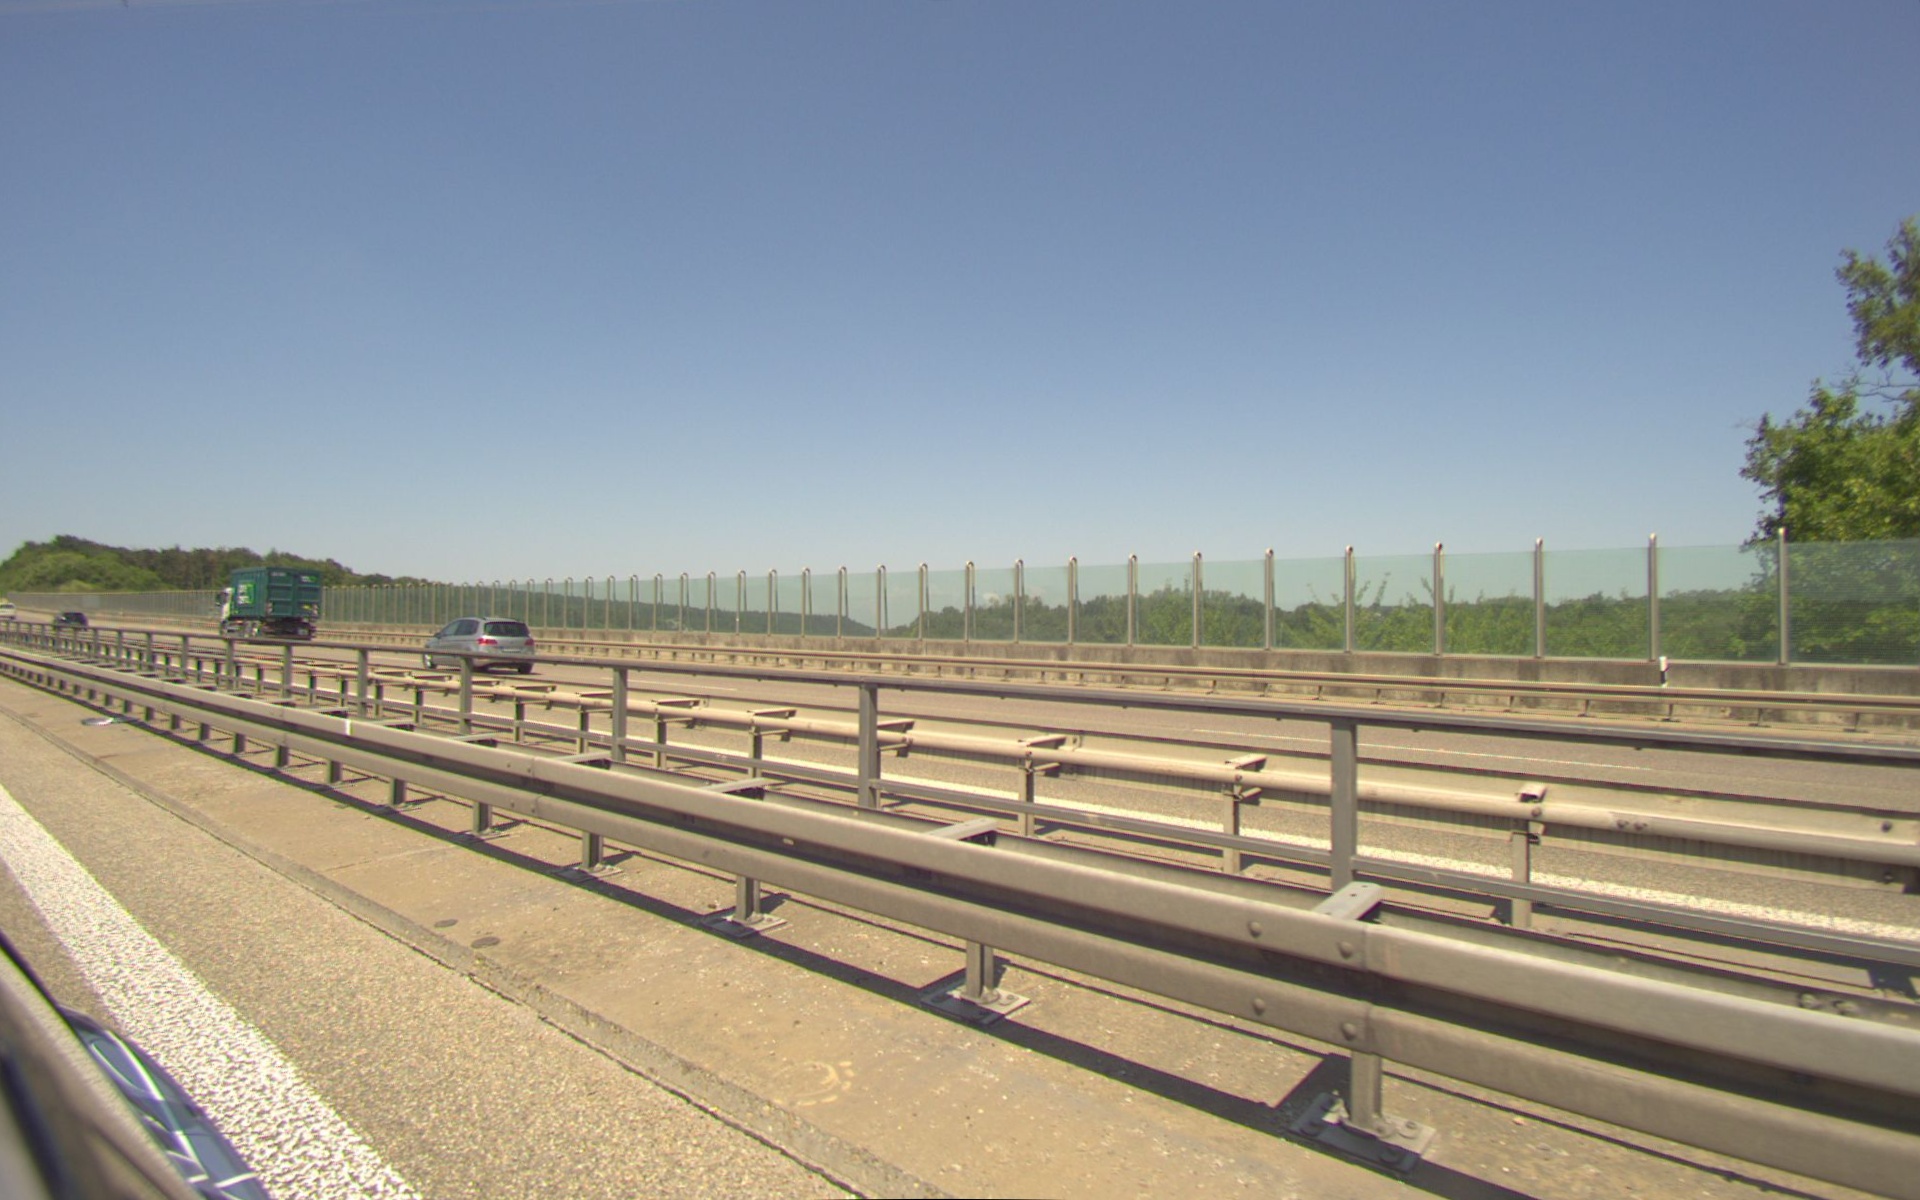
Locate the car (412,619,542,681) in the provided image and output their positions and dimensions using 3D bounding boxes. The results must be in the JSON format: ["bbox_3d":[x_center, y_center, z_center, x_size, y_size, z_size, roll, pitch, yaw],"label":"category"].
[{"bbox_3d":[-13.734,1.388,28.687,4.043,1.617,1.764,-2,-3,39],"label":"car"}]

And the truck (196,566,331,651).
[{"bbox_3d":[-38.355,0.550,55.500,11.085,4.169,3.272,-1,-4,41],"label":"truck"}]

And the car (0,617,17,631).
[{"bbox_3d":[-114.222,2.843,120.805,4.045,1.622,1.930,-1,-1,41],"label":"car"}]

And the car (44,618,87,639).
[{"bbox_3d":[-68.470,2.159,77.448,4.045,1.578,1.930,-1,-2,41],"label":"car"}]
